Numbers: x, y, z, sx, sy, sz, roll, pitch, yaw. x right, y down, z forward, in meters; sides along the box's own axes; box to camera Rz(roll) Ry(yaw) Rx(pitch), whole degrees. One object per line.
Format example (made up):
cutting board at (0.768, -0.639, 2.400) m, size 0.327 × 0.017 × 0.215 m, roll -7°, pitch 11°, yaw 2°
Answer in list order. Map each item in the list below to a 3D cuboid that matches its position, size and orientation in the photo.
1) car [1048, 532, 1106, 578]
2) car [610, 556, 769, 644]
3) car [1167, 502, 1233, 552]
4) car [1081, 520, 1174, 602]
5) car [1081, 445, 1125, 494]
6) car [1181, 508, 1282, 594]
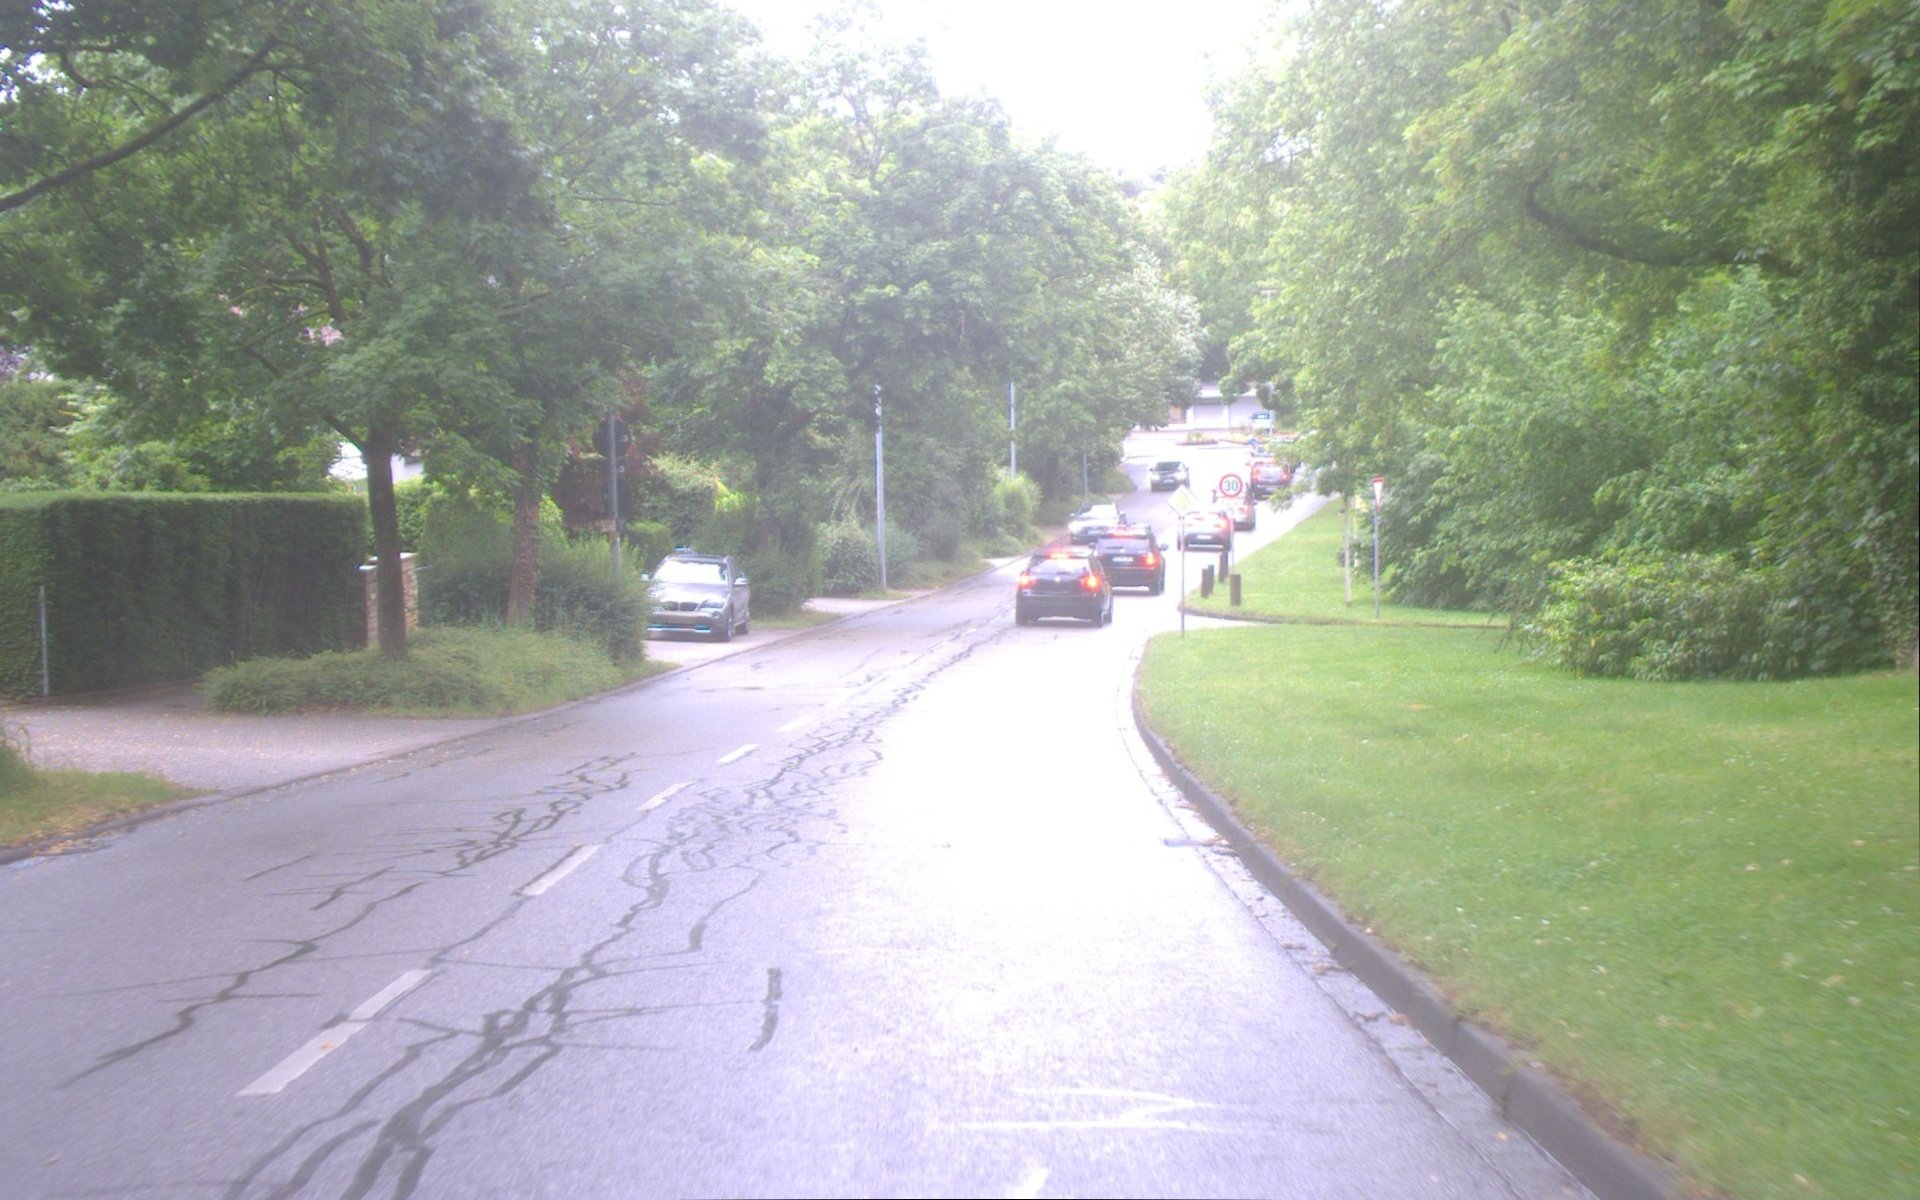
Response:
car at (4.320, -1.665, 126.468) m, size 1.994 × 1.650 × 4.000 m, roll 0°, pitch 1°, yaw 4°
car at (-5.056, -0.025, 64.843) m, size 1.994 × 1.593 × 4.008 m, roll 0°, pitch 1°, yaw 11°
car at (8.350, -2.543, 119.819) m, size 1.856 × 1.686 × 4.000 m, roll -1°, pitch 1°, yaw -2°
car at (4.213, -1.001, 86.937) m, size 1.993 × 2.007 × 4.000 m, roll -1°, pitch 1°, yaw -2°
car at (6.755, -6.163, 162.560) m, size 1.993 × 2.006 × 4.002 m, roll 0°, pitch 6°, yaw 1°
car at (6.515, -1.190, 82.840) m, size 1.993 × 2.007 × 4.000 m, roll 0°, pitch 1°, yaw -2°
